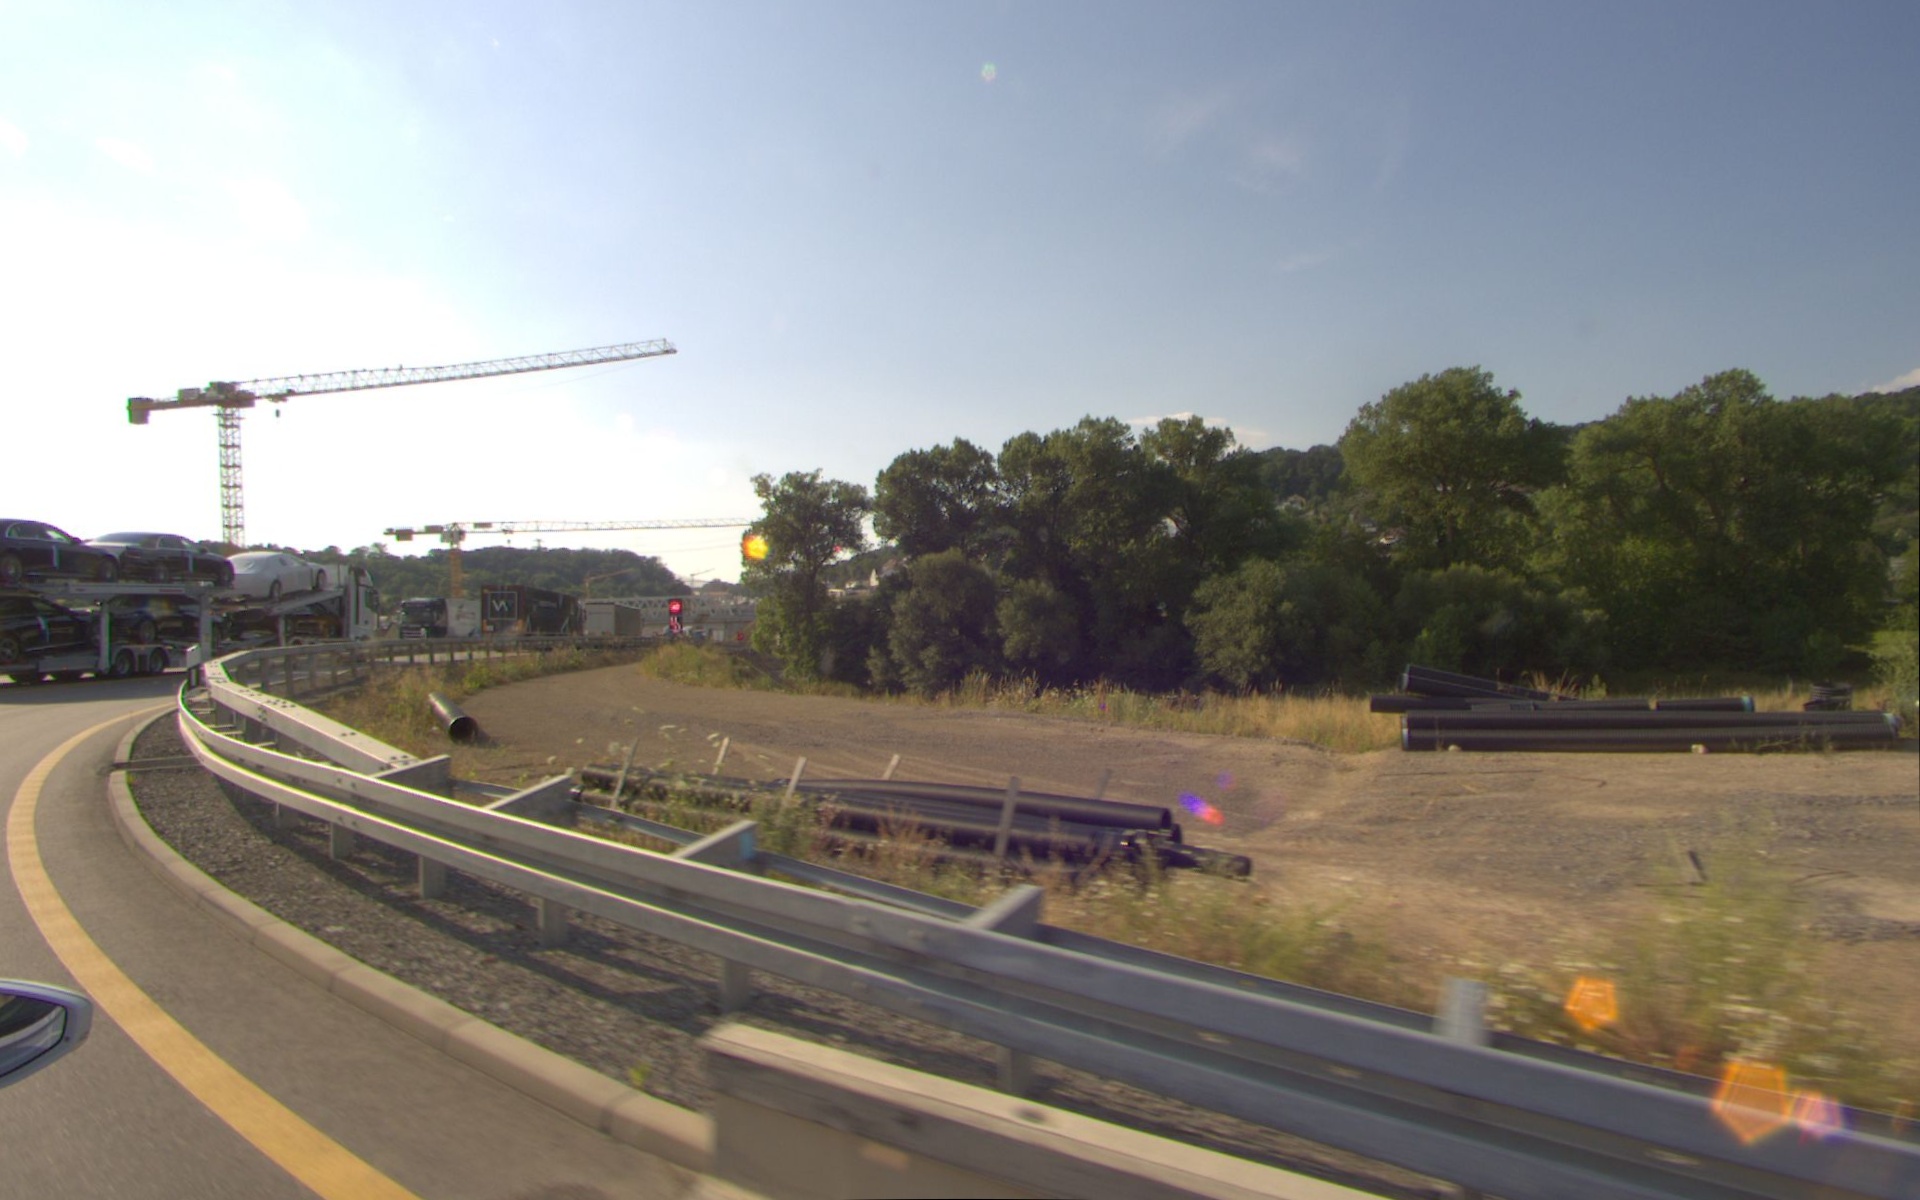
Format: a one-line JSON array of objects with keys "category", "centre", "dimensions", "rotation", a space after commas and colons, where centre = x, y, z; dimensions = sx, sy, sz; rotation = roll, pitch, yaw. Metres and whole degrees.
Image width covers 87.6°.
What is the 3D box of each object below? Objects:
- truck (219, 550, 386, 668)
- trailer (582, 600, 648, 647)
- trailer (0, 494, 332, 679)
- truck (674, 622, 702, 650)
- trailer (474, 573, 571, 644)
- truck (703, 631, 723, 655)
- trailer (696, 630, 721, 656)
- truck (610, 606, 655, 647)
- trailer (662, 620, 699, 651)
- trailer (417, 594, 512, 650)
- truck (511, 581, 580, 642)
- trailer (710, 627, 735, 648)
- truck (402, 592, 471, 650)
[{"category": "truck", "centre": [-24.857, 0.449, 38.316], "dimensions": [2.803, 4.047, 6.625], "rotation": [-1, -2, -9]}, {"category": "trailer", "centre": [-32.519, 2.362, 95.154], "dimensions": [3.331, 4.046, 14.746], "rotation": [-1, -2, -9]}, {"category": "trailer", "centre": [-23.481, 0.068, 29.100], "dimensions": [2.812, 4.046, 15.747], "rotation": [-1, -2, -9]}, {"category": "truck", "centre": [-40.690, 5.442, 149.885], "dimensions": [3.336, 4.047, 6.625], "rotation": [-1, -2, -9]}, {"category": "trailer", "centre": [-28.601, 0.736, 66.117], "dimensions": [2.912, 4.143, 10.795], "rotation": [-2, -2, -8]}, {"category": "truck", "centre": [-46.133, 7.995, 187.024], "dimensions": [3.049, 4.339, 6.625], "rotation": [-1, -2, -9]}, {"category": "trailer", "centre": [-44.978, 7.657, 179.560], "dimensions": [3.054, 4.368, 14.253], "rotation": [-1, -2, -9]}, {"category": "truck", "centre": [-33.970, 2.760, 104.023], "dimensions": [3.290, 4.047, 6.625], "rotation": [-1, -2, -9]}, {"category": "trailer", "centre": [-39.537, 5.120, 142.258], "dimensions": [3.331, 4.046, 14.746], "rotation": [-1, -2, -9]}, {"category": "trailer", "centre": [-40.549, 1.967, 82.623], "dimensions": [2.586, 4.117, 14.081], "rotation": [-2, -2, -8]}, {"category": "truck", "centre": [-29.203, 0.932, 70.835], "dimensions": [2.839, 4.047, 6.626], "rotation": [-1, -2, -8]}, {"category": "trailer", "centre": [-51.670, 8.251, 218.123], "dimensions": [4.032, 4.368, 14.253], "rotation": [-1, -2, -9]}, {"category": "truck", "centre": [-39.667, 1.677, 76.100], "dimensions": [2.586, 4.117, 6.130], "rotation": [-2, -2, -8]}]
